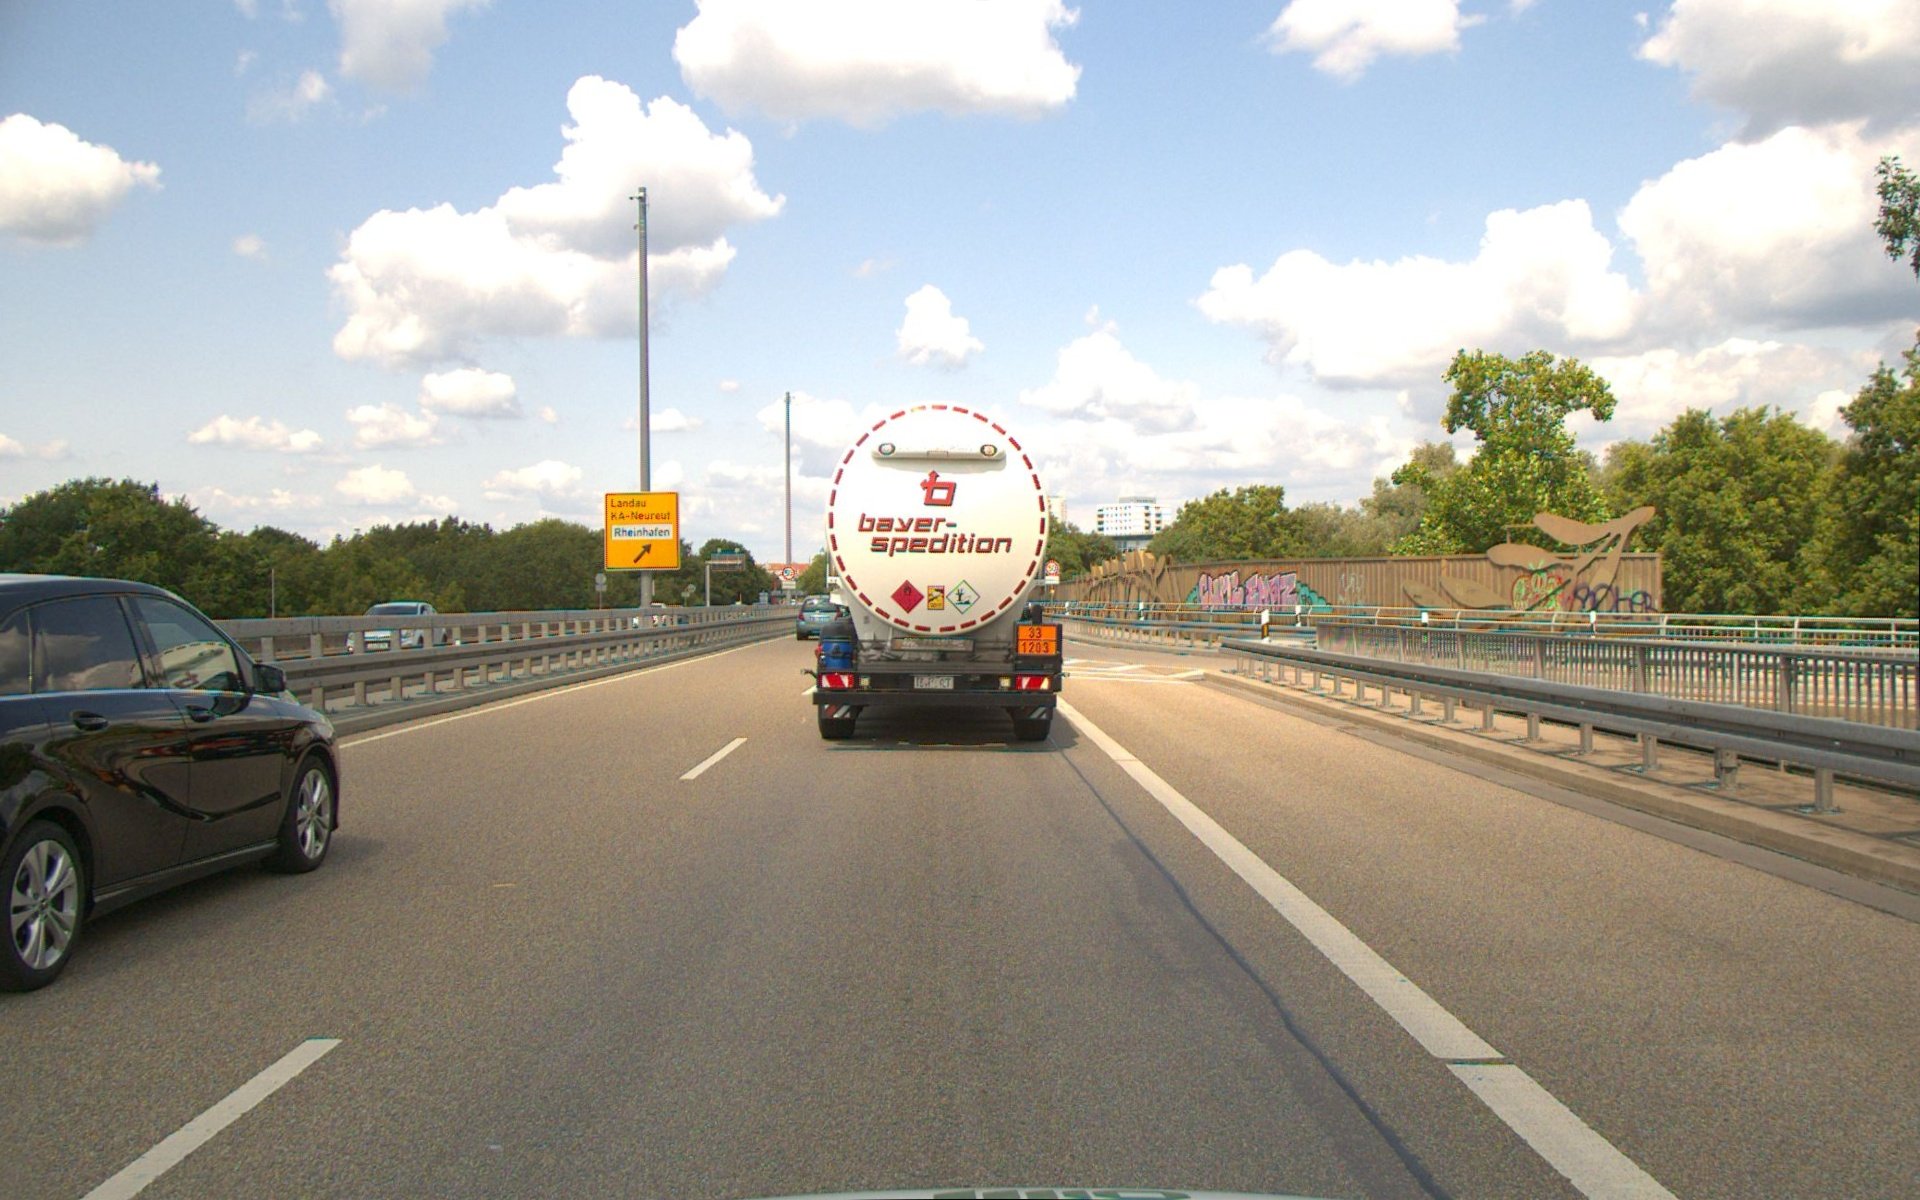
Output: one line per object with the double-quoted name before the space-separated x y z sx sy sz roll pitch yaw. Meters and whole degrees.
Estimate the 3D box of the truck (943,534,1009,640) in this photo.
"truck" 0.700 -0.618 80.822 2.837 4.892 8.026 1 0 -2

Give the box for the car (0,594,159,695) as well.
"car" -15.798 0.707 28.729 1.791 1.609 3.953 1 0 0

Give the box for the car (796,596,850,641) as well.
"car" -4.957 0.631 60.149 1.712 1.558 3.999 0 0 -1

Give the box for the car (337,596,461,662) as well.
"car" -14.064 0.691 41.717 1.864 1.555 4.241 1 0 -3

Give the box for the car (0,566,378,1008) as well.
"car" -4.221 0.640 7.355 1.677 1.554 4.592 1 0 -1

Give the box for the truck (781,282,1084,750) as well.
"truck" -0.371 -0.809 19.913 2.837 4.445 8.026 1 0 -2

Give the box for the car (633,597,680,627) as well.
"car" -16.793 0.639 91.702 1.761 1.624 4.711 -1 0 0
